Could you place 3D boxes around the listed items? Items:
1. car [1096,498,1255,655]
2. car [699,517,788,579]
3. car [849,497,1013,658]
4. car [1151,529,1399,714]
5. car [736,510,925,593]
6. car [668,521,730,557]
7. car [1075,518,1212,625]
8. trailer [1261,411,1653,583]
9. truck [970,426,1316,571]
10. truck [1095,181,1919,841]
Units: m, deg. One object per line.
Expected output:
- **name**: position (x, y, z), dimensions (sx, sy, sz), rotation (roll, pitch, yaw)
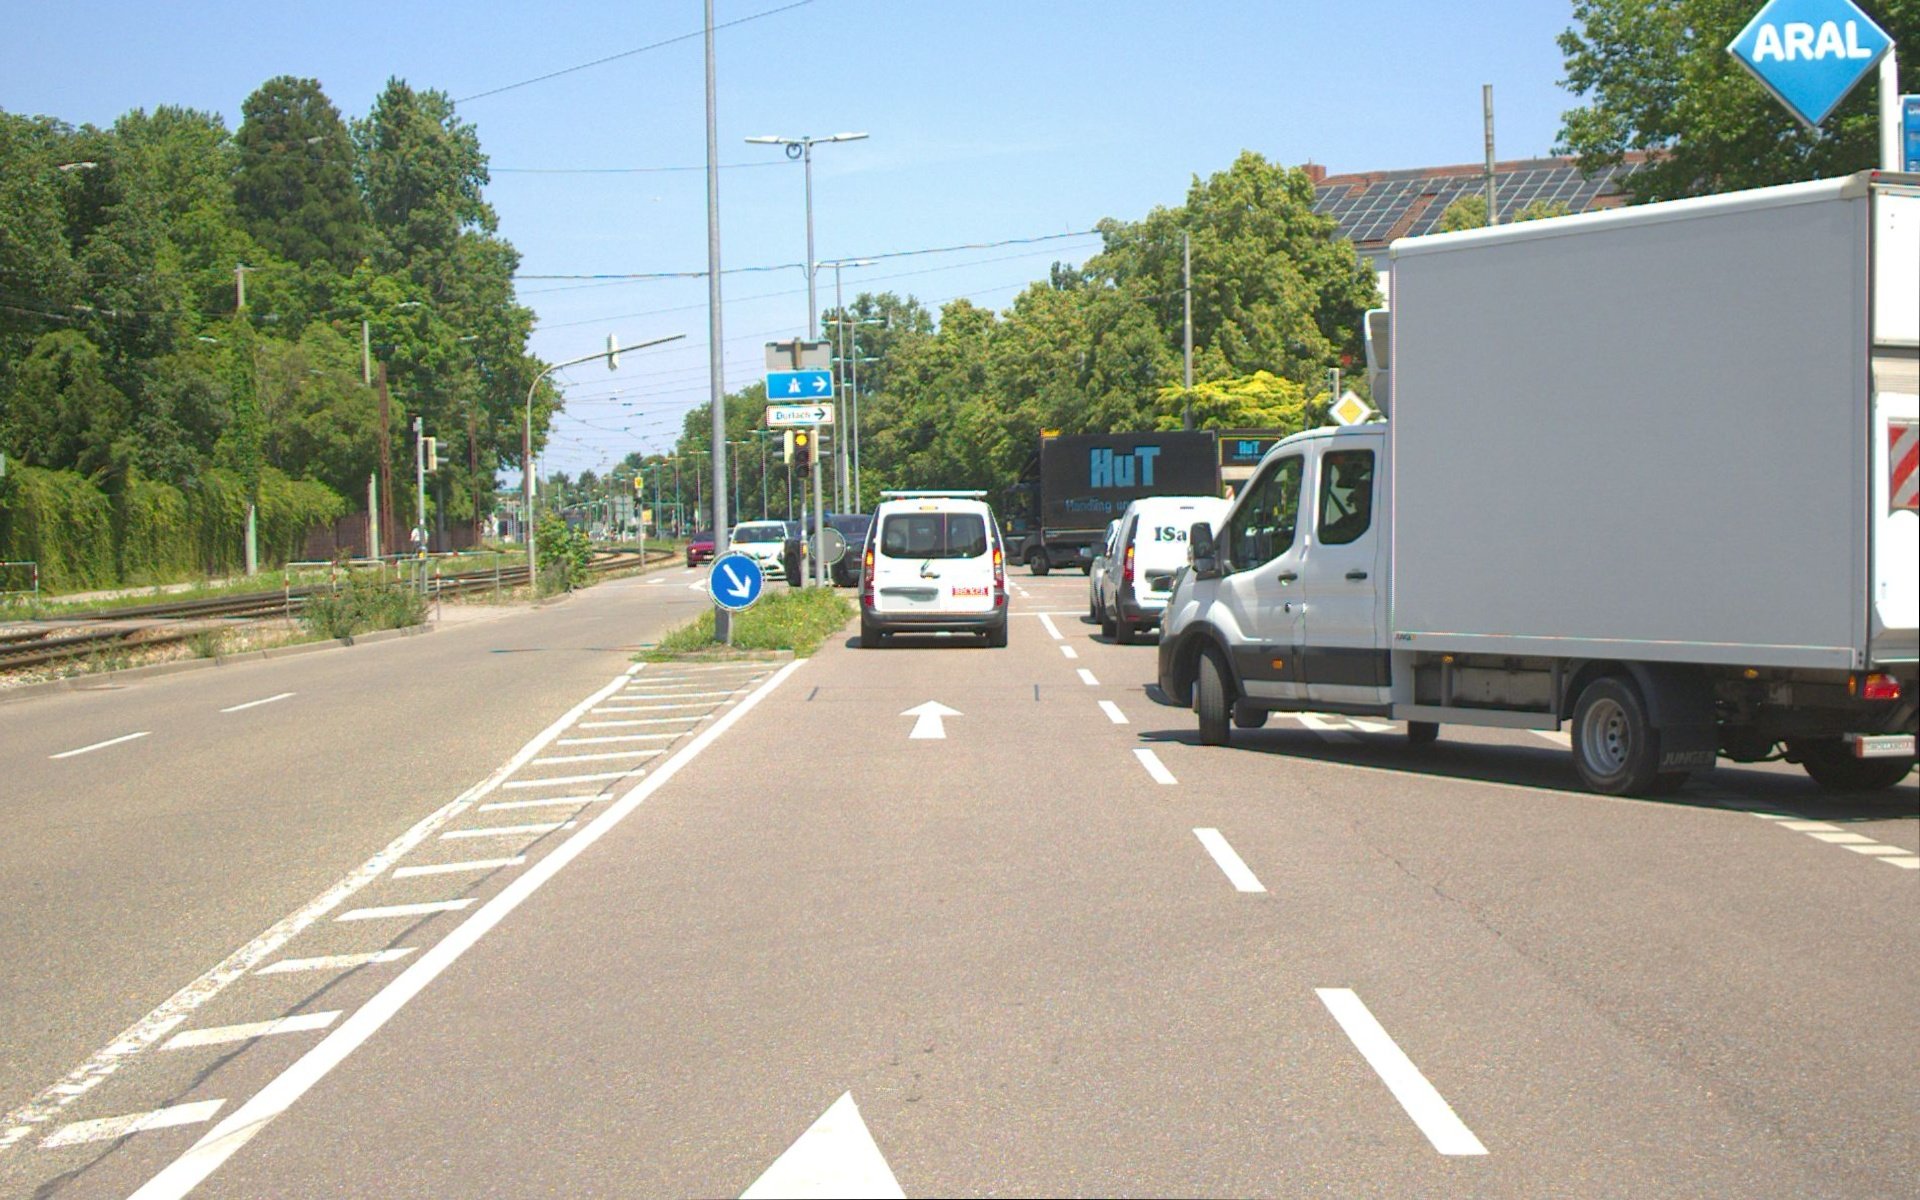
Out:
- **car**: position (2.635, -0.323, 42.684), dimensions (1.710, 1.824, 4.014), rotation (-1, 1, 0)
- **car**: position (-5.890, -1.423, 93.113), dimensions (1.993, 1.612, 4.457), rotation (-1, 1, -9)
- **car**: position (-0.363, -0.307, 41.908), dimensions (1.866, 1.829, 3.849), rotation (-1, 1, -1)
- **car**: position (2.653, 0.131, 29.841), dimensions (1.795, 1.444, 4.418), rotation (-1, 1, 1)
- **car**: position (-3.017, -1.123, 79.259), dimensions (1.994, 1.822, 4.538), rotation (-2, 2, -40)
- **car**: position (-10.298, -2.425, 135.917), dimensions (1.984, 1.354, 4.538), rotation (-1, 1, 1)
- **car**: position (2.674, -0.454, 50.798), dimensions (1.756, 1.481, 4.000), rotation (-1, 1, 0)
- **trailer**: position (12.353, -2.519, 85.691), dimensions (8.960, 4.036, 3.534), rotation (0, 1, 27)
- **truck**: position (4.761, -2.632, 90.896), dimensions (8.801, 3.620, 3.579), rotation (0, 2, 43)
- **truck**: position (3.856, -0.531, 21.637), dimensions (2.419, 3.380, 7.834), rotation (-2, 1, -27)
